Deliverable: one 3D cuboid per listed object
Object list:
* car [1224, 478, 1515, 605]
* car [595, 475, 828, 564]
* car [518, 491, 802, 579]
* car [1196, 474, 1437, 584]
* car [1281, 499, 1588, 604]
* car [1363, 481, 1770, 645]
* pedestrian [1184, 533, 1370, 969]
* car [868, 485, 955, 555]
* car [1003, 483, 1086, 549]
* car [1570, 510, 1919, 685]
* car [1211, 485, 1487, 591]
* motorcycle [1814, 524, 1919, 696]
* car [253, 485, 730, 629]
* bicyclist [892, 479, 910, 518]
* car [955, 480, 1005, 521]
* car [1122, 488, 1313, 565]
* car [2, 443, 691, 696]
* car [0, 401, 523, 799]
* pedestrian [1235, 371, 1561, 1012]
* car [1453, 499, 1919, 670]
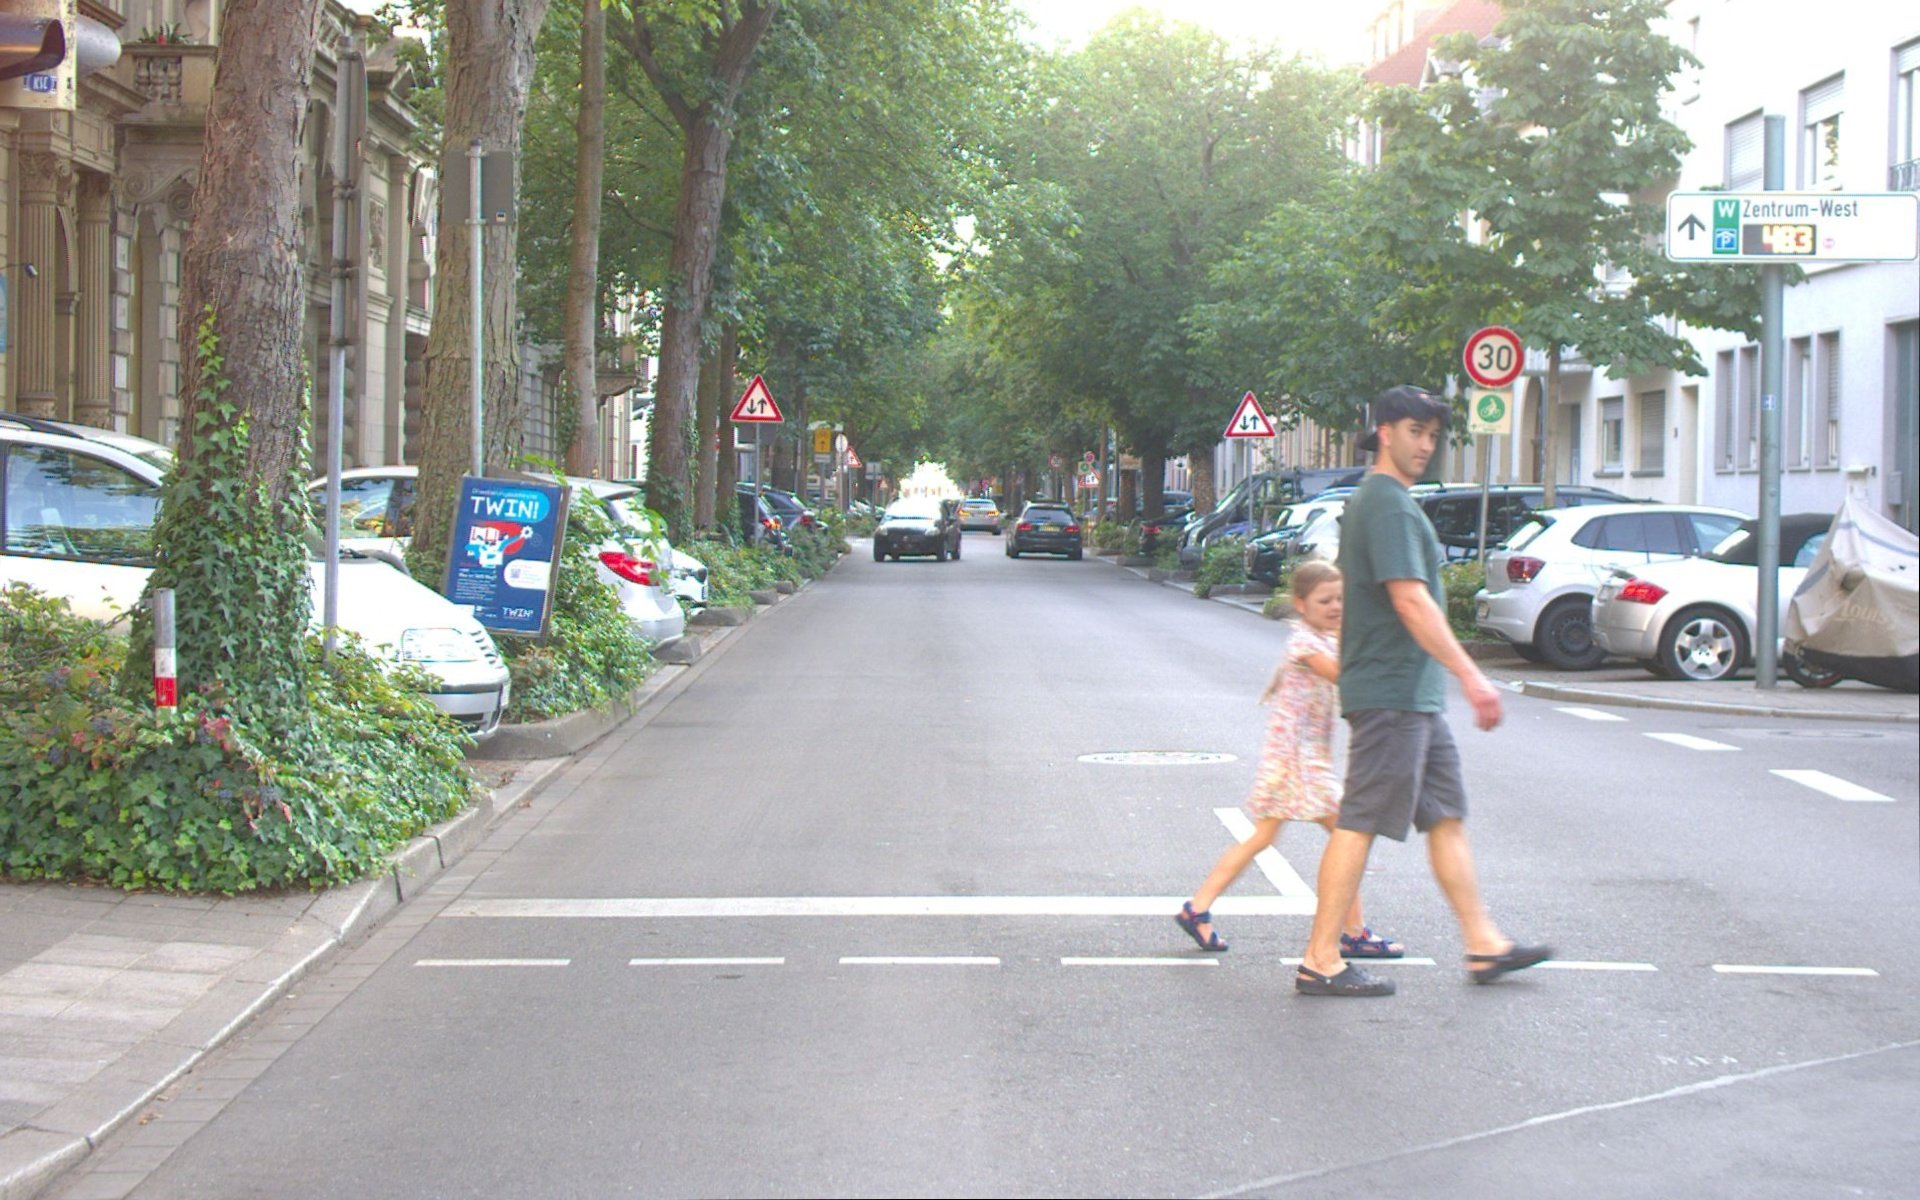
[{"bbox_3d":[5.937,-0.864,50.184,4.014,1.809,1.707,0,2,0],"label":"car"},{"bbox_3d":[-4.986,-1.625,69.362,4.548,1.685,1.833,1,2,0],"label":"car"},{"bbox_3d":[-4.945,-1.097,57.145,4.548,1.405,1.833,1,2,0],"label":"car"},{"bbox_3d":[6.223,-1.259,60.319,4.014,1.823,1.707,1,2,0],"label":"car"},{"bbox_3d":[6.569,-0.691,47.850,4.014,1.404,1.707,0,2,0],"label":"car"},{"bbox_3d":[6.407,-0.416,36.613,4.014,1.684,1.707,0,2,0],"label":"car"},{"bbox_3d":[1.003,0.464,10.910,0.539,1.331,0.506,1,2,5],"label":"pedestrian"},{"bbox_3d":[-1.164,-1.902,81.224,1.904,1.572,3.992,2,2,-2],"label":"car"},{"bbox_3d":[2.095,-2.123,86.325,1.825,1.556,4.028,2,2,-1],"label":"car"},{"bbox_3d":[7.054,-0.034,27.572,4.014,1.338,1.707,0,2,0],"label":"car"},{"bbox_3d":[5.967,-0.964,53.040,4.014,1.524,1.707,1,2,0],"label":"car"},{"bbox_3d":[7.011,0.071,24.374,1.800,1.195,0.613,1,2,9],"label":"motorcycle"},{"bbox_3d":[-4.662,-0.452,34.636,4.548,1.367,1.833,1,2,0],"label":"car"},{"bbox_3d":[-2.226,-3.825,129.536,0.571,1.464,0.643,1,1,-6],"label":"bicyclist"},{"bbox_3d":[0.806,-4.069,140.587,1.924,1.654,4.001,1,2,-1],"label":"car"},{"bbox_3d":[5.614,-1.616,75.309,4.014,1.596,1.707,1,2,0],"label":"car"},{"bbox_3d":[-4.256,-0.236,24.347,4.548,1.683,1.833,1,2,0],"label":"car"},{"bbox_3d":[-4.492,-0.034,16.799,4.547,1.828,1.833,0,2,-3],"label":"car"},{"bbox_3d":[1.273,0.245,10.156,0.888,1.809,0.794,1,2,4],"label":"pedestrian"},{"bbox_3d":[6.474,-0.153,30.212,4.014,1.437,1.707,0,2,0],"label":"car"}]
